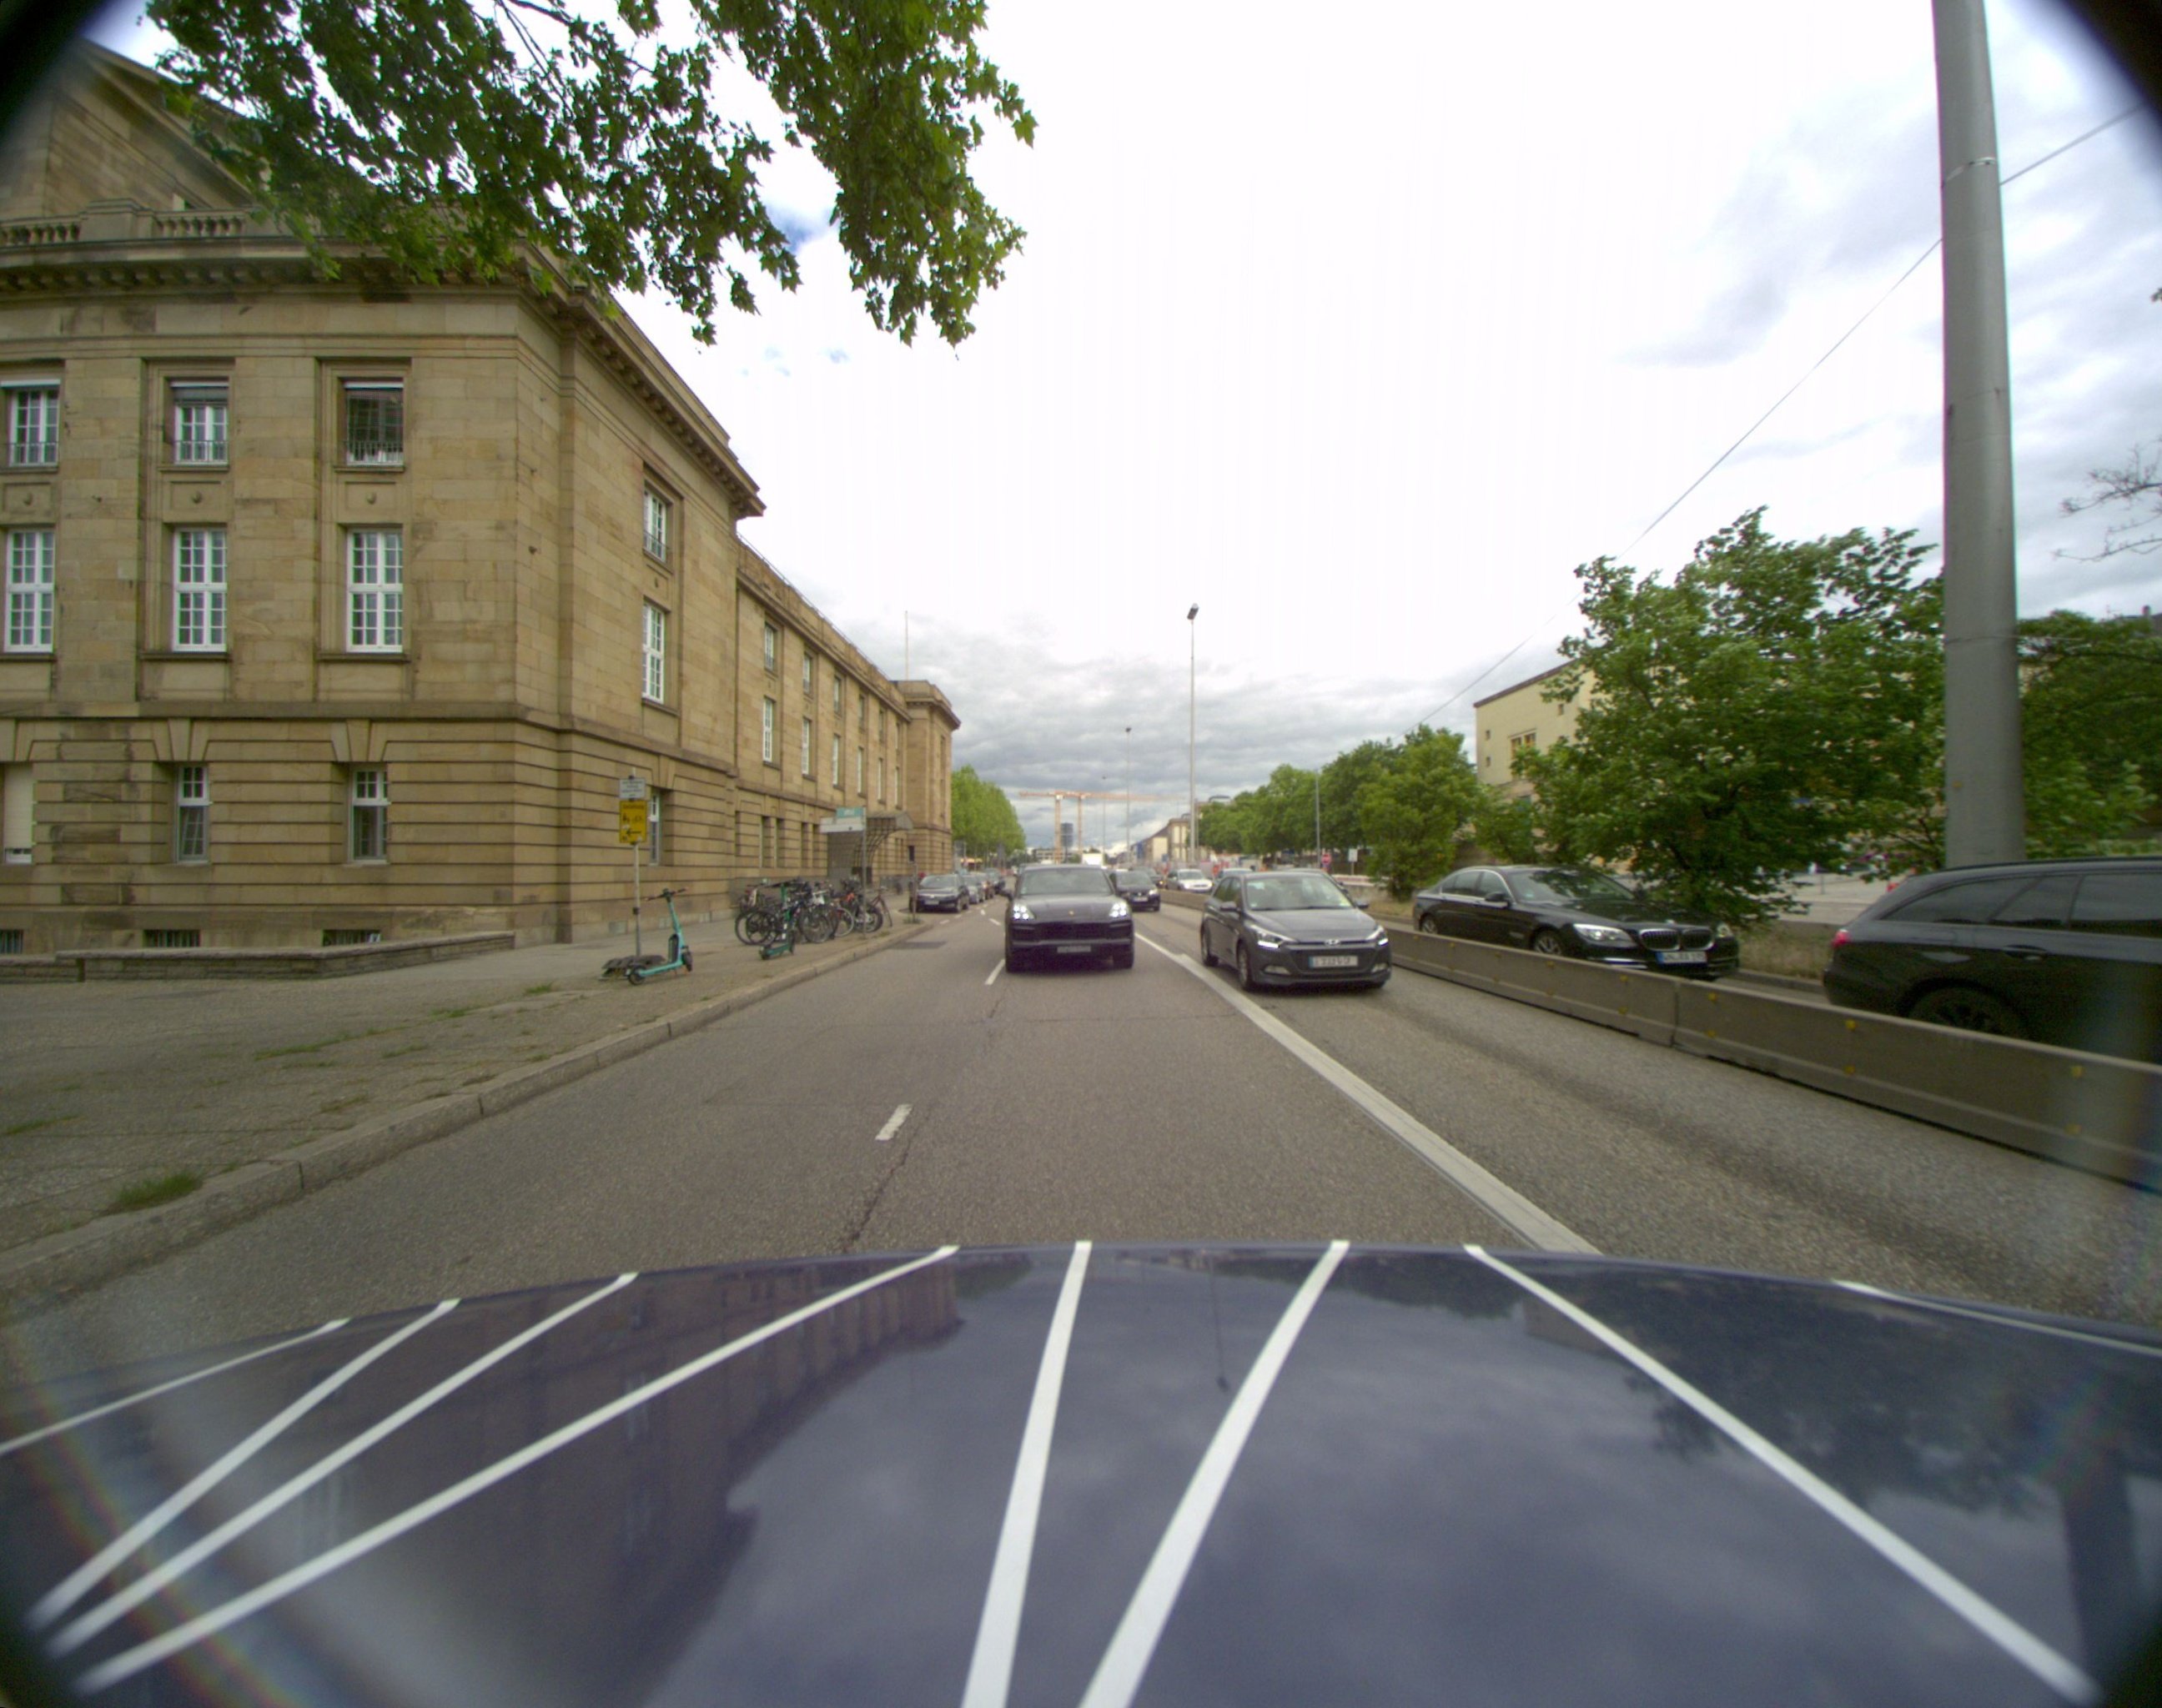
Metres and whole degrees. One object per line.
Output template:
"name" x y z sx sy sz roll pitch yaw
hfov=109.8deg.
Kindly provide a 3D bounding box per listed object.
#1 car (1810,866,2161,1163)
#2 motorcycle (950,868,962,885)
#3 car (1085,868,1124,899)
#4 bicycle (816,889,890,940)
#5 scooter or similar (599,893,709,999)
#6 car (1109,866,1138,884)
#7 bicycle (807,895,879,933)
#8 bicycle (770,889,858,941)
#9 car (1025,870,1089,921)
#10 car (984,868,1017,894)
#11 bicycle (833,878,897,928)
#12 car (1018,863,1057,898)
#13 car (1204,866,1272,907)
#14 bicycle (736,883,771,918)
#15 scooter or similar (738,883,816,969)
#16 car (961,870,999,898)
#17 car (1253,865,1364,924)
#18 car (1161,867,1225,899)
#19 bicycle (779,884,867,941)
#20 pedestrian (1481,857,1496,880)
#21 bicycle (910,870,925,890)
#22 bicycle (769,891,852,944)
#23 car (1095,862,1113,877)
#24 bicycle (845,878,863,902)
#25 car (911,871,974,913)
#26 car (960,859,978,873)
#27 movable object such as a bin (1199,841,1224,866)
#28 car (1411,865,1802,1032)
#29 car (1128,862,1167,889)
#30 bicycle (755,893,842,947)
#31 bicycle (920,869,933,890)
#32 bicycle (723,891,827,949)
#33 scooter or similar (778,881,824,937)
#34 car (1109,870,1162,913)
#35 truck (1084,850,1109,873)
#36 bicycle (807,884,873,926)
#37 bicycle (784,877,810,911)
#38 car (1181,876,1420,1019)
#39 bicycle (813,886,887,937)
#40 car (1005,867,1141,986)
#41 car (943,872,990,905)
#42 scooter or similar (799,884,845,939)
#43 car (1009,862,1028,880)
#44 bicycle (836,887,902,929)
"car" 6.414 0.816 3.342 1.821 1.490 4.769 0 -1 0
"motorcycle" -9.639 1.727 58.684 0.456 1.235 1.923 1 0 4
"car" 1.220 1.567 40.862 1.690 1.496 3.998 -1 0 -4
"bicycle" -5.434 1.422 18.135 1.616 1.123 0.407 -1 0 -26
"scooter or similar" -5.760 1.202 10.328 0.432 1.273 1.435 -2 0 12
"car" 3.366 1.650 60.647 1.731 1.288 3.933 -1 0 -5
"bicycle" -6.123 1.519 19.519 1.730 0.911 0.614 -1 0 19
"bicycle" -5.902 1.346 16.809 1.731 1.085 0.575 -2 0 9
"car" -0.803 1.292 24.838 1.931 1.501 3.999 0 -1 -3
"car" -5.000 1.672 47.416 1.549 1.542 3.709 0 -1 2
"bicycle" -5.630 1.266 19.793 1.544 1.249 0.544 -2 0 19
"car" -2.466 1.479 43.685 1.952 1.914 4.399 0 -1 0
"car" 6.296 1.262 30.905 1.677 1.498 3.852 -1 0 -5
"bicycle" -10.243 1.436 23.842 0.241 0.992 1.963 0 0 0
"scooter or similar" -5.113 1.180 12.865 0.727 1.323 1.413 -2 0 0
"car" -5.587 1.638 42.341 1.620 1.446 3.858 1 0 0
"car" 6.397 1.081 21.828 1.664 1.445 4.196 -1 0 -4
"car" 5.637 1.411 38.759 1.884 1.472 4.701 -1 0 -9
"bicycle" -5.839 1.320 17.266 1.762 1.202 0.604 -2 0 -3
"pedestrian" 35.604 1.266 66.415 0.847 2.002 0.815 -2 0 0
"bicycle" -10.111 1.594 47.035 0.557 1.209 1.916 0 0 0
"bicycle" -5.830 1.363 16.371 1.731 1.085 0.381 -2 0 13
"car" 2.635 1.795 88.592 1.843 1.750 4.480 0 -1 -2
"bicycle" -10.300 1.607 34.520 0.222 1.022 1.859 -2 -1 0
"car" -5.333 1.433 29.749 1.793 1.477 4.326 0 -1 -2
"car" -12.540 1.349 85.387 1.584 1.521 3.503 -1 0 -2
"movable object such as a bin" 11.762 0.007 68.583 1.526 2.172 3.292 0 -1 -4
"car" 6.438 1.007 10.237 1.928 1.626 4.937 -1 0 1
"car" 4.179 1.334 48.366 1.781 1.611 4.045 -1 0 -5
"bicycle" -5.940 1.392 15.969 1.731 1.085 0.426 -2 0 13
"bicycle" -9.937 1.634 48.880 0.413 1.280 1.790 0 0 0
"bicycle" -6.149 1.326 15.268 1.860 1.085 0.666 -2 0 13
"scooter or similar" -6.782 1.312 18.427 0.563 1.271 1.149 -2 0 6
"car" 1.968 1.352 28.399 1.612 1.464 3.622 -1 0 -2
"truck" 1.867 0.962 96.497 2.978 2.757 7.255 0 -1 0
"bicycle" -6.095 1.293 19.221 1.565 1.022 0.436 -2 0 12
"bicycle" -10.295 1.433 27.573 0.276 1.176 1.538 -2 0 3
"car" 2.682 1.079 10.328 1.803 1.429 4.019 -1 0 -4
"bicycle" -5.575 1.373 18.368 1.616 1.123 0.469 -1 0 -25
"car" -0.253 1.055 12.794 1.908 1.647 4.200 0 -1 -4
"car" -5.483 1.629 36.890 1.713 1.417 3.996 1 0 -1
"scooter or similar" -6.254 1.373 18.386 0.426 1.217 1.313 -2 0 11
"car" -7.019 1.928 85.628 1.999 2.001 4.000 0 -1 -2
"bicycle" -5.649 1.436 20.244 1.664 1.068 0.586 -1 0 20
